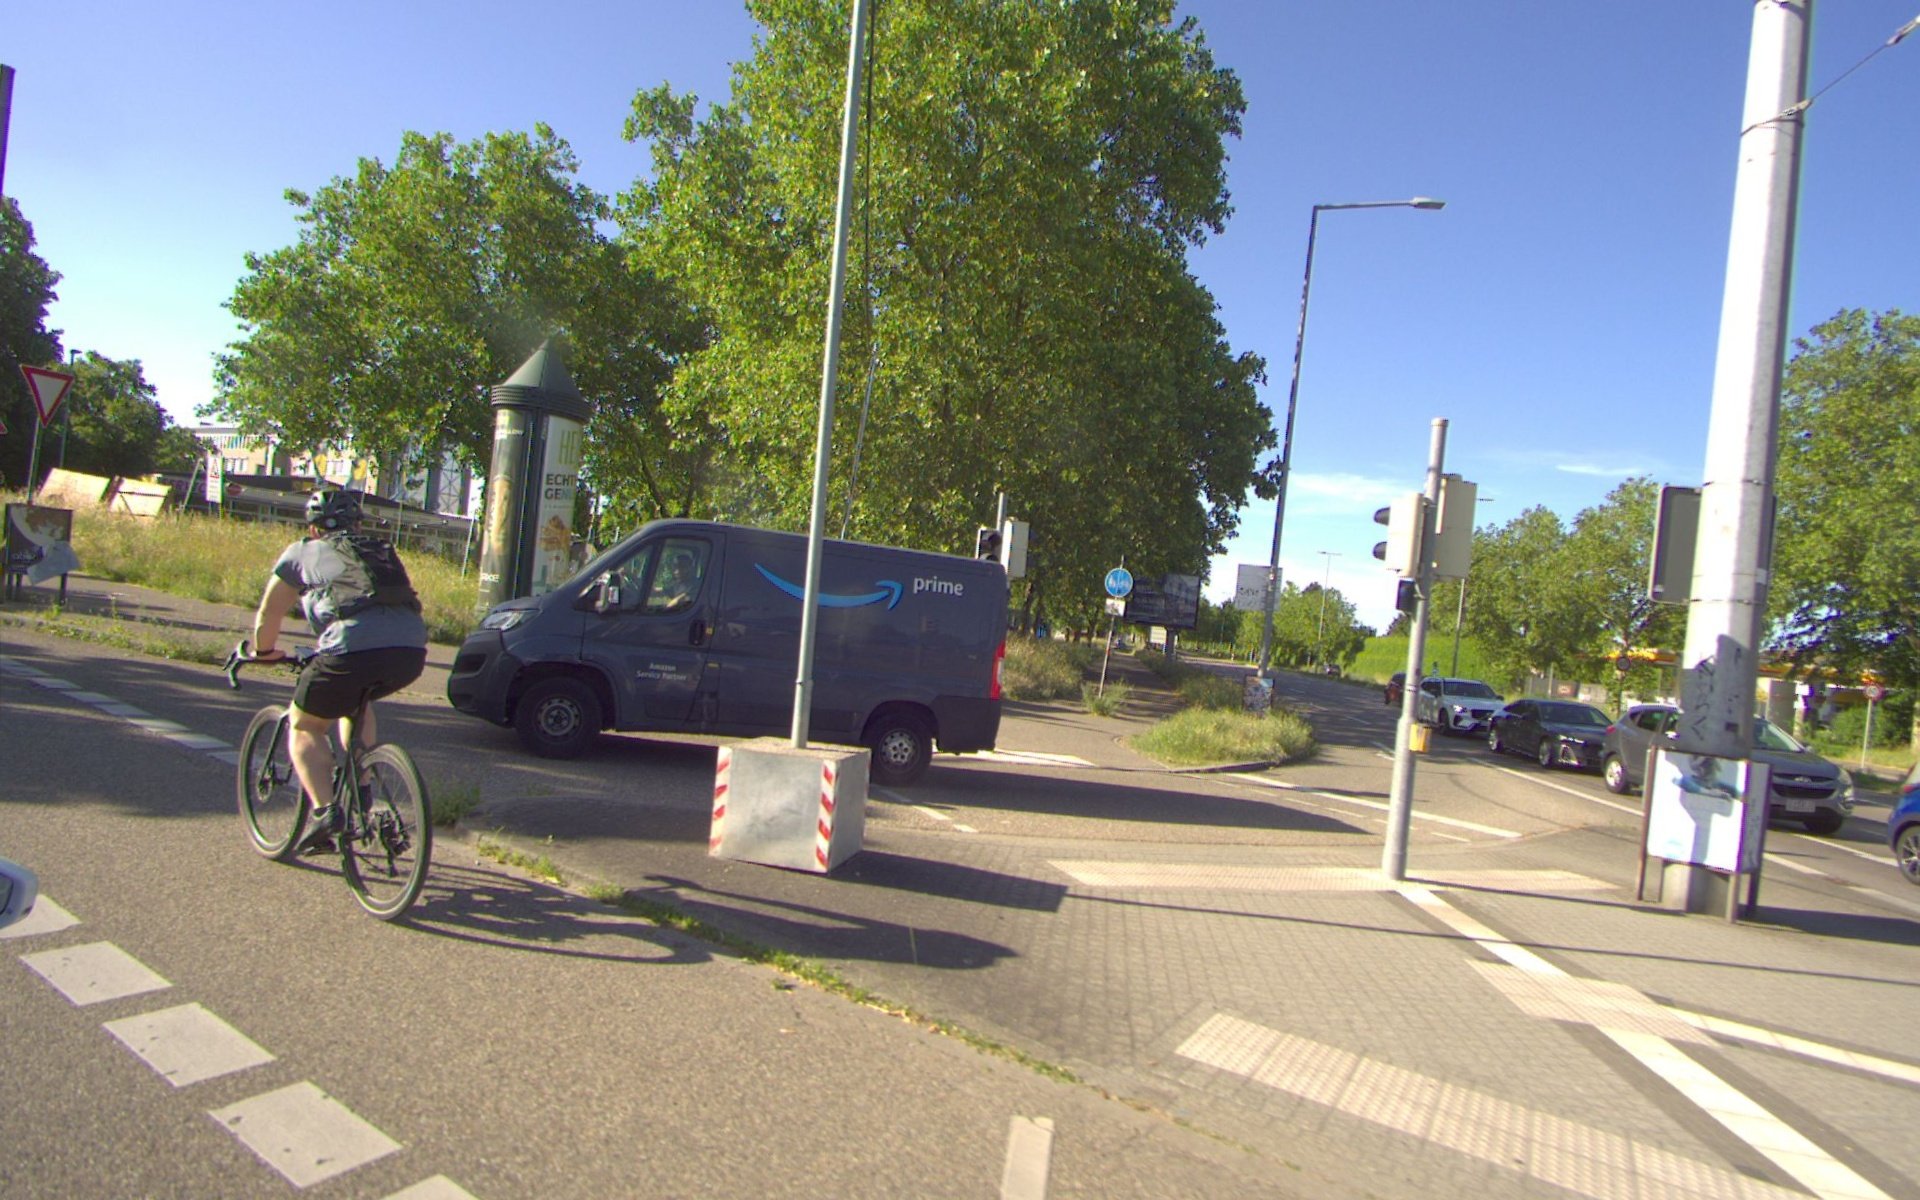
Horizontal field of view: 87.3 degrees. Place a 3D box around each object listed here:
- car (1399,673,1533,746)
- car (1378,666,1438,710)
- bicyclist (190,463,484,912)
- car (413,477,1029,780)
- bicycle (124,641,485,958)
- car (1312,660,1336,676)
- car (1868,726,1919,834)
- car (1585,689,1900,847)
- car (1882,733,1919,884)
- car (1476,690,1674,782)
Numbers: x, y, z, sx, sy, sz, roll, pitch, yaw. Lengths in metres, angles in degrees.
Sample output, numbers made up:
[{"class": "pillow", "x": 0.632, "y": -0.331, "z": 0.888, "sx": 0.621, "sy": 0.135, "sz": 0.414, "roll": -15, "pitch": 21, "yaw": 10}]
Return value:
[{"class": "car", "x": 14.837, "y": 3.157, "z": 29.815, "sx": 1.872, "sy": 1.701, "sz": 4.782, "roll": 6, "pitch": -2, "yaw": 7}, {"class": "car", "x": 20.044, "y": 3.928, "z": 45.142, "sx": 1.346, "sy": 1.635, "sz": 3.211, "roll": 7, "pitch": -1, "yaw": 6}, {"class": "bicyclist", "x": -2.677, "y": 0.321, "z": 4.322, "sx": 0.918, "sy": 1.700, "sz": 0.615, "roll": 6, "pitch": 0, "yaw": 33}, {"class": "car", "x": -2.155, "y": 0.365, "z": 9.674, "sx": 5.050, "sy": 2.095, "sz": 2.120, "roll": 7, "pitch": -1, "yaw": -22}, {"class": "bicycle", "x": -2.959, "y": 0.766, "z": 4.439, "sx": 2.056, "sy": 0.934, "sz": 0.524, "roll": 6, "pitch": 0, "yaw": 34}, {"class": "car", "x": 43.803, "y": 8.173, "z": 121.137, "sx": 1.792, "sy": 1.724, "sz": 3.777, "roll": 7, "pitch": -1, "yaw": 8}, {"class": "car", "x": 15.927, "y": 2.955, "z": 14.937, "sx": 1.680, "sy": 1.620, "sz": 3.863, "roll": 7, "pitch": -1, "yaw": 10}, {"class": "car", "x": 12.210, "y": 2.523, "z": 16.139, "sx": 1.898, "sy": 1.699, "sz": 4.177, "roll": 7, "pitch": -1, "yaw": 6}, {"class": "car", "x": 11.272, "y": 2.340, "z": 9.586, "sx": 1.680, "sy": 1.620, "sz": 3.863, "roll": 4, "pitch": -1, "yaw": 8}, {"class": "car", "x": 13.482, "y": 2.932, "z": 22.448, "sx": 1.897, "sy": 1.425, "sz": 4.573, "roll": 3, "pitch": -1, "yaw": 6}]
